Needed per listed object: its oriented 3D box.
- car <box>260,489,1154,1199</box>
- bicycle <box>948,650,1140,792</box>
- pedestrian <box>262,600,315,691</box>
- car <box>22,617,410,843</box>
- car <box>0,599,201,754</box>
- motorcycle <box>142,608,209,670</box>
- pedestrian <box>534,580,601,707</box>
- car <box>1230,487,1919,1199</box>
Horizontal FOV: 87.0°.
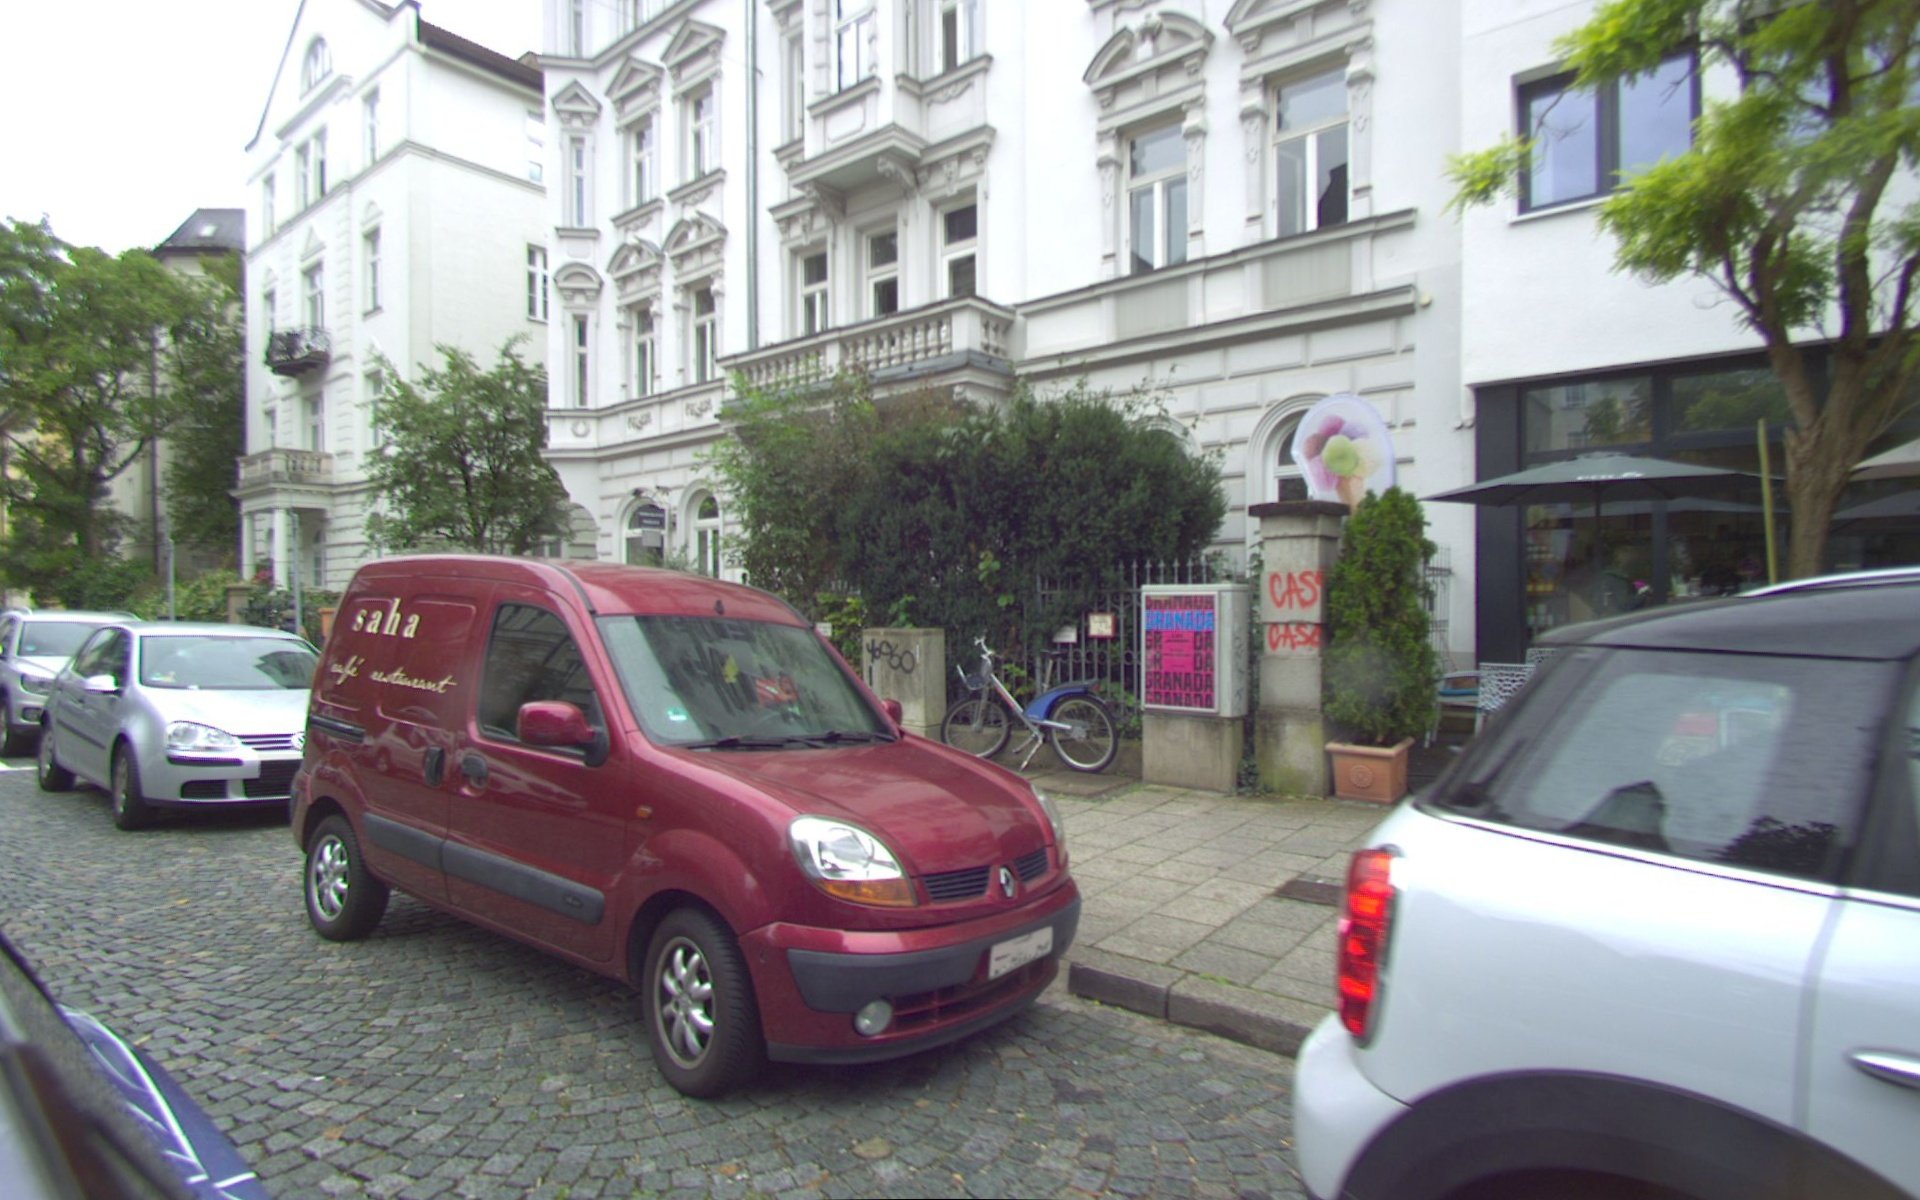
[{"bbox_3d":[-1.321,0.639,4.277,3.895,1.736,1.700,-1,-2,40],"label":"car"},{"bbox_3d":[0.668,0.972,8.477,1.682,1.086,0.255,-2,-1,36],"label":"bicycle"},{"bbox_3d":[-12.481,0.833,18.837,0.655,1.640,0.671,-1,0,-18],"label":"pedestrian"},{"bbox_3d":[-6.197,0.860,8.286,3.811,1.404,1.616,-1,0,38],"label":"car"},{"bbox_3d":[-10.851,0.796,12.264,4.063,1.584,1.673,-1,0,38],"label":"car"},{"bbox_3d":[-19.341,0.944,24.939,2.242,1.439,0.729,-1,1,37],"label":"motorcycle"},{"bbox_3d":[-5.313,0.564,13.691,0.569,1.659,0.822,-1,0,-44],"label":"pedestrian"},{"bbox_3d":[2.380,0.623,0.938,3.777,1.515,1.675,-1,0,43],"label":"car"}]
